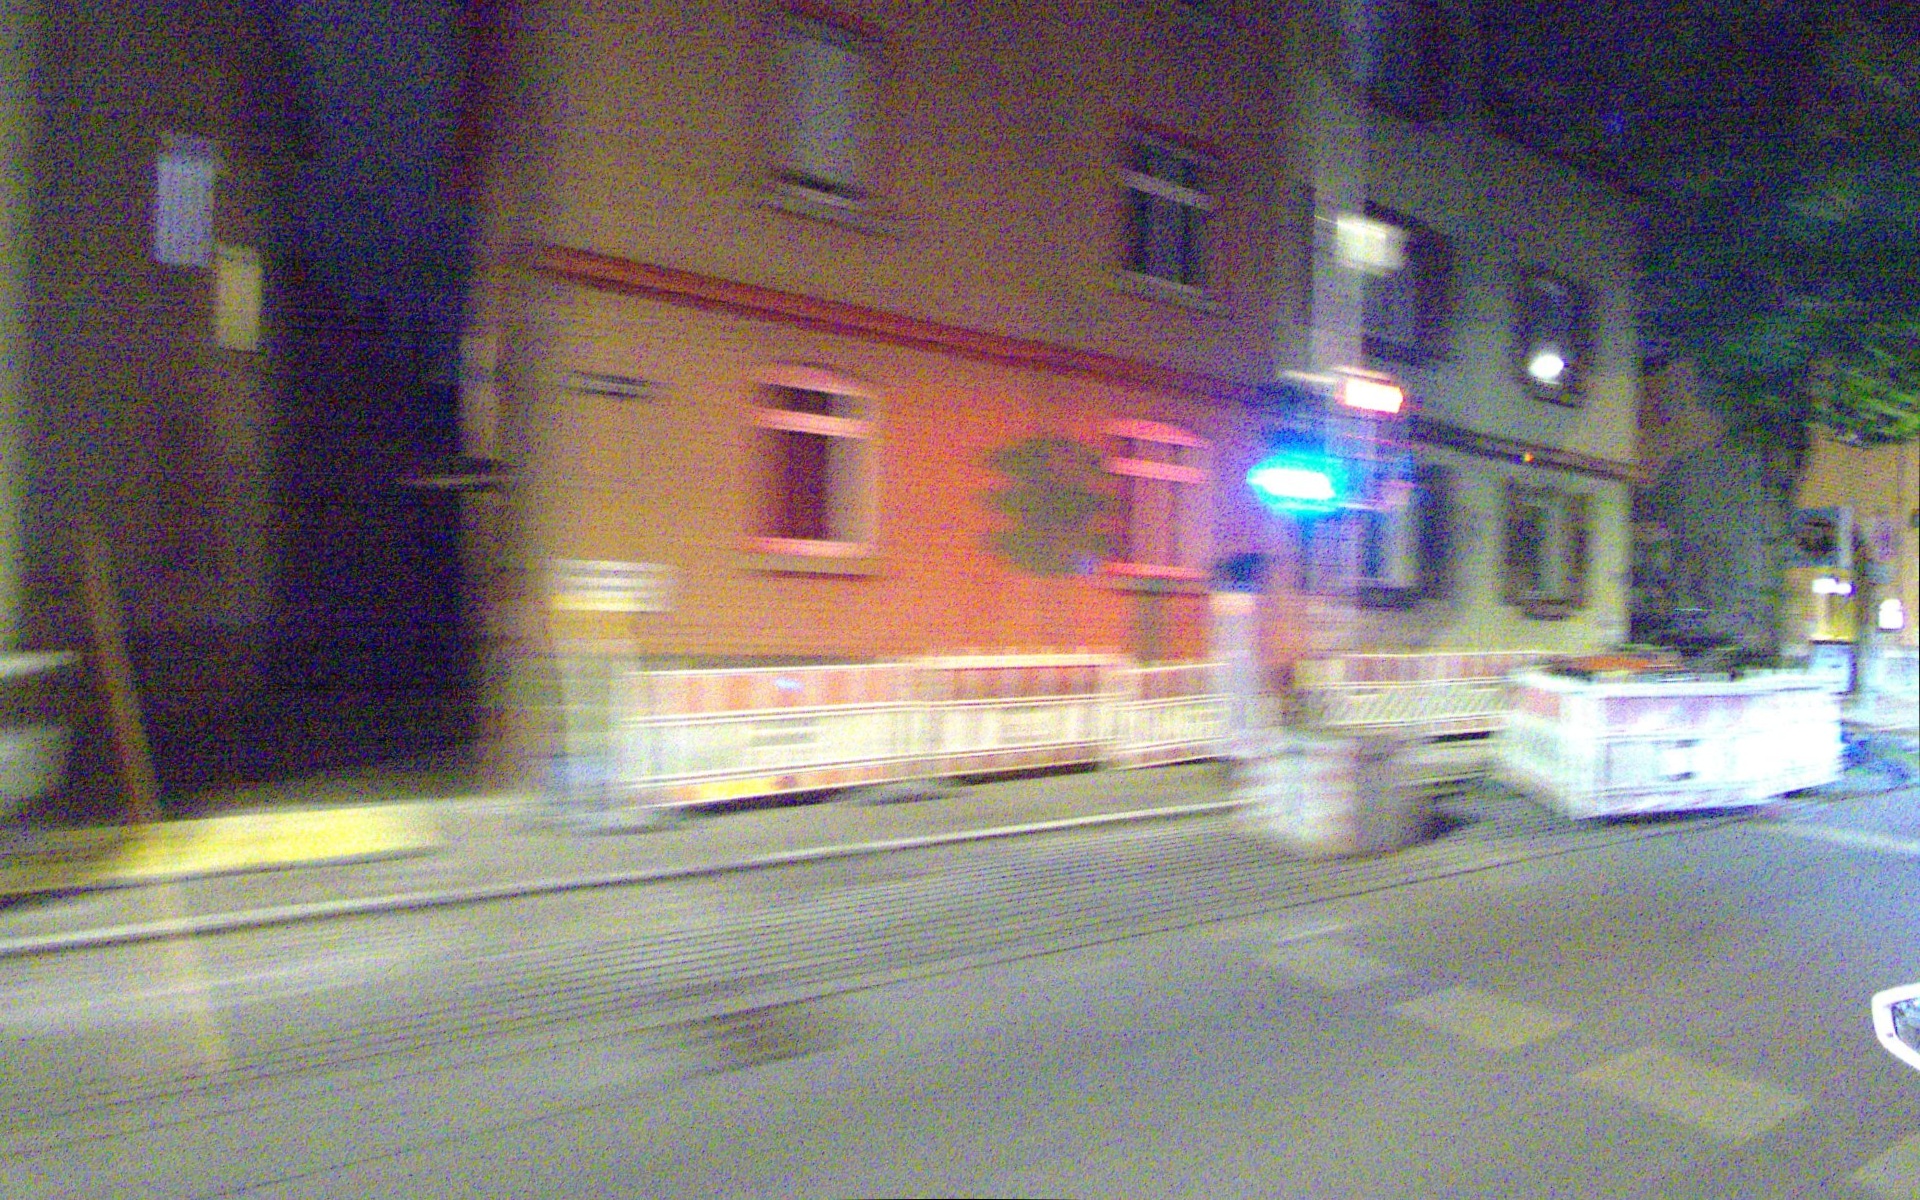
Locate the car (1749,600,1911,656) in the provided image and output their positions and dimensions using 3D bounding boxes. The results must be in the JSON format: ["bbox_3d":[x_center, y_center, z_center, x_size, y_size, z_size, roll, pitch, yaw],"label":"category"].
[{"bbox_3d":[44.226,1.361,51.260,2.221,2.577,5.817,4,-2,-30],"label":"car"}]
